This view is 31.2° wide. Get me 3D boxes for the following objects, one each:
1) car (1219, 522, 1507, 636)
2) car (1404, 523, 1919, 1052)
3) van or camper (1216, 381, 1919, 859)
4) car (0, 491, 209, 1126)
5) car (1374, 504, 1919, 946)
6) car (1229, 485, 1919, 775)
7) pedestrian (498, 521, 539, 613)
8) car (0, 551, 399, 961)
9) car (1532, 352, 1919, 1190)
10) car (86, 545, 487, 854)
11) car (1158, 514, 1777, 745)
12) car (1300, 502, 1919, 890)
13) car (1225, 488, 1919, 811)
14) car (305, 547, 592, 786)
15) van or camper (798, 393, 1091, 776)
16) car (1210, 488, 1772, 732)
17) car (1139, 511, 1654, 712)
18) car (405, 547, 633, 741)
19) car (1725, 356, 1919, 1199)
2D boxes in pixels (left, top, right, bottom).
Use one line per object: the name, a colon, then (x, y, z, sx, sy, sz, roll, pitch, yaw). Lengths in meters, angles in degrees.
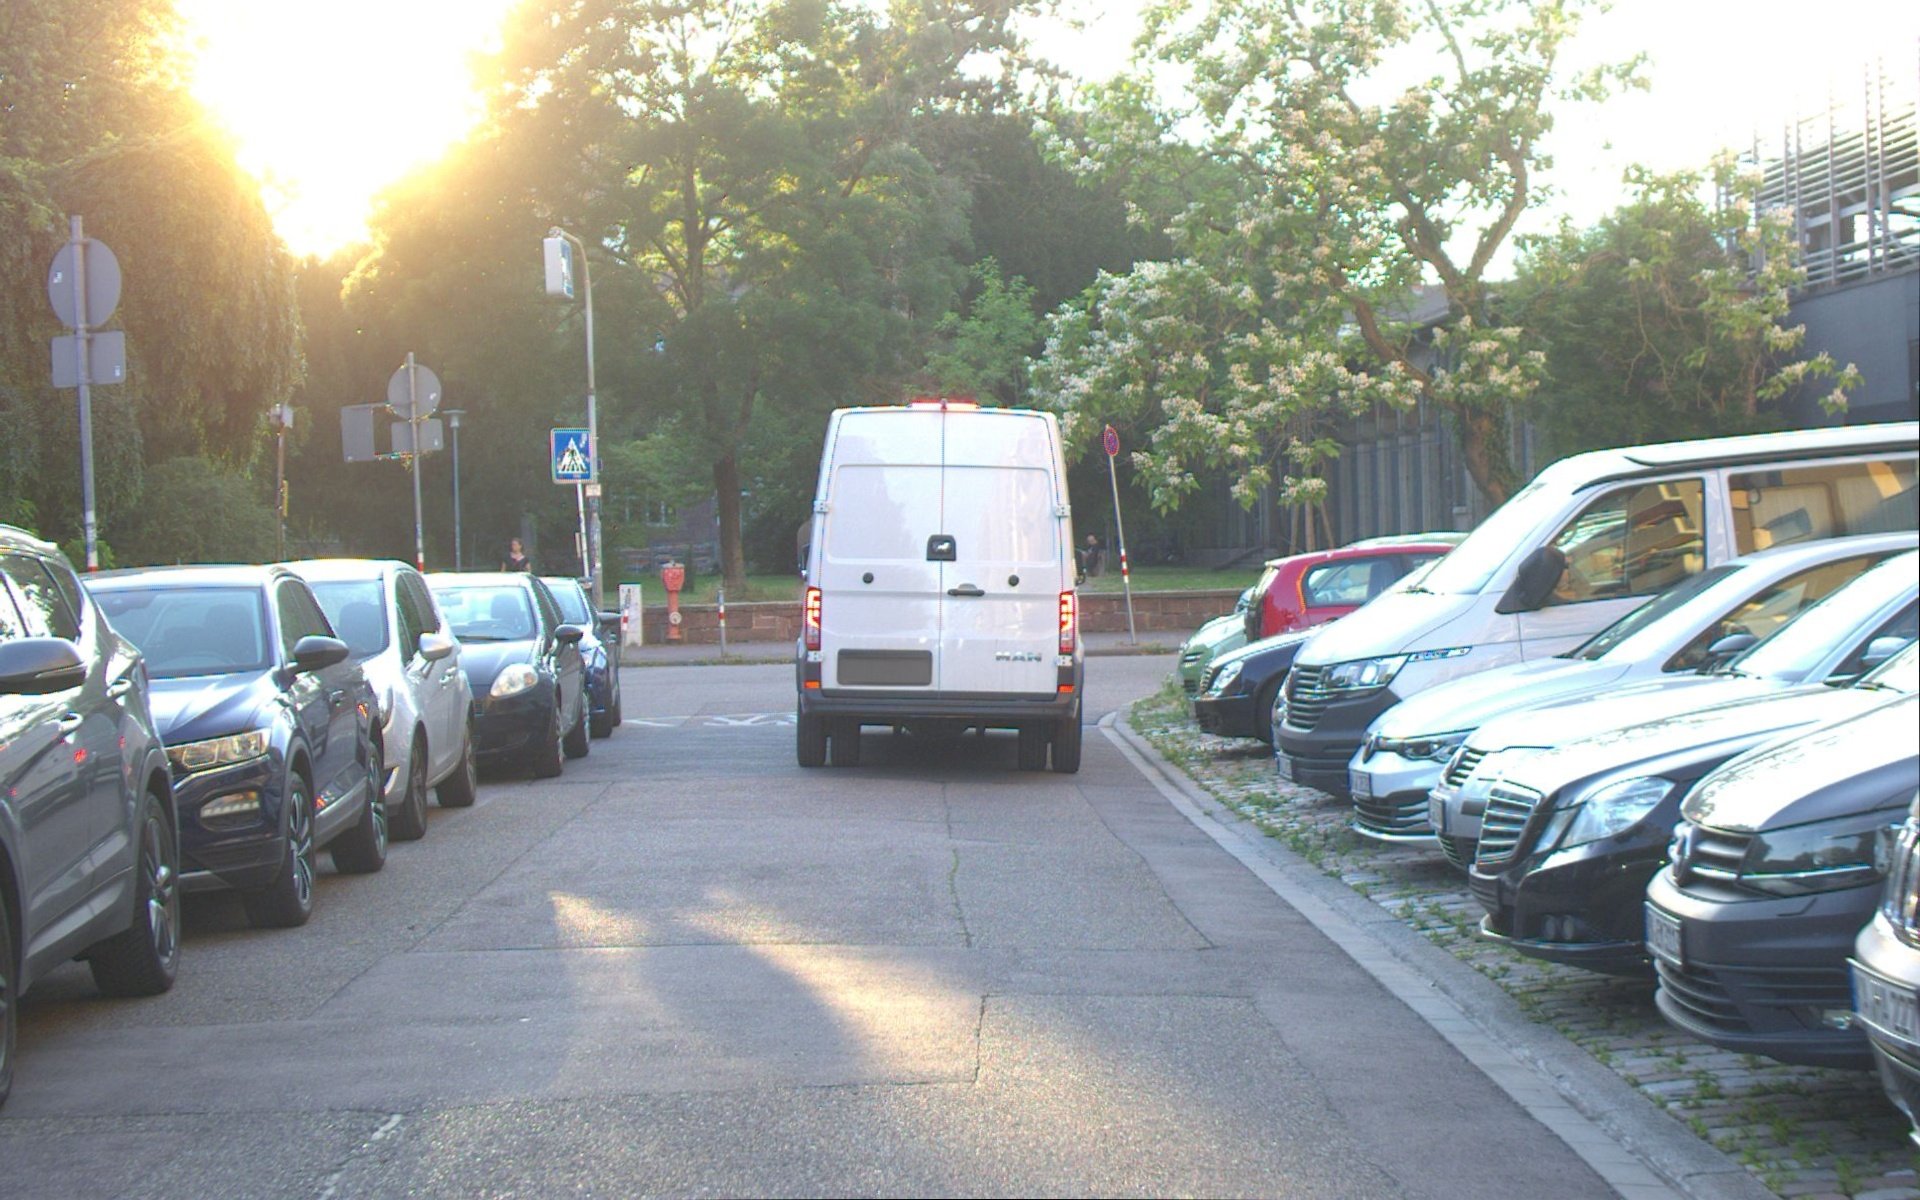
car: (5.766, -0.317, 49.537, 3.854, 1.568, 1.958, -1, 1, -2)
car: (3.844, 0.520, 11.453, 4.403, 1.558, 1.846, -2, -1, -1)
van or camper: (4.135, 0.019, 18.566, 5.132, 2.160, 2.040, -5, 0, -2)
car: (-3.589, 0.573, 10.695, 1.733, 1.724, 4.324, -3, 1, -3)
car: (4.031, 0.429, 13.897, 4.403, 1.587, 1.846, -2, -1, -1)
car: (4.241, 0.212, 24.047, 4.403, 1.656, 1.846, -4, -1, -3)
pedestrian: (-7.901, -0.597, 61.539, 0.646, 1.643, 0.674, 1, 1, -1)
car: (-3.685, 0.603, 15.739, 1.733, 1.562, 4.168, -3, 1, -3)
car: (4.045, 0.332, 9.152, 4.636, 1.974, 1.846, -2, -1, -1)
car: (-3.866, 0.495, 20.362, 1.733, 1.562, 4.130, -3, 1, -3)
car: (3.857, 0.231, 26.636, 4.403, 1.526, 1.846, -3, -1, -3)
car: (3.953, 0.405, 16.348, 4.403, 1.626, 1.846, -2, -1, -1)
car: (3.963, 0.294, 21.408, 4.325, 1.656, 1.782, -4, -1, -3)
car: (-3.728, 0.428, 25.572, 1.733, 1.562, 3.698, -3, 1, -3)
van or camper: (-0.149, -0.157, 26.742, 1.993, 2.609, 6.403, 0, 1, -1)
car: (4.441, 0.066, 29.265, 4.404, 1.625, 1.846, -5, 1, 2)
car: (3.979, 0.114, 31.834, 4.403, 1.626, 1.846, -2, -1, -3)
car: (-3.925, 0.341, 31.078, 1.733, 1.562, 3.791, -3, 1, -3)
car: (3.951, 0.399, 6.505, 4.512, 1.856, 1.846, -2, 1, -1)
